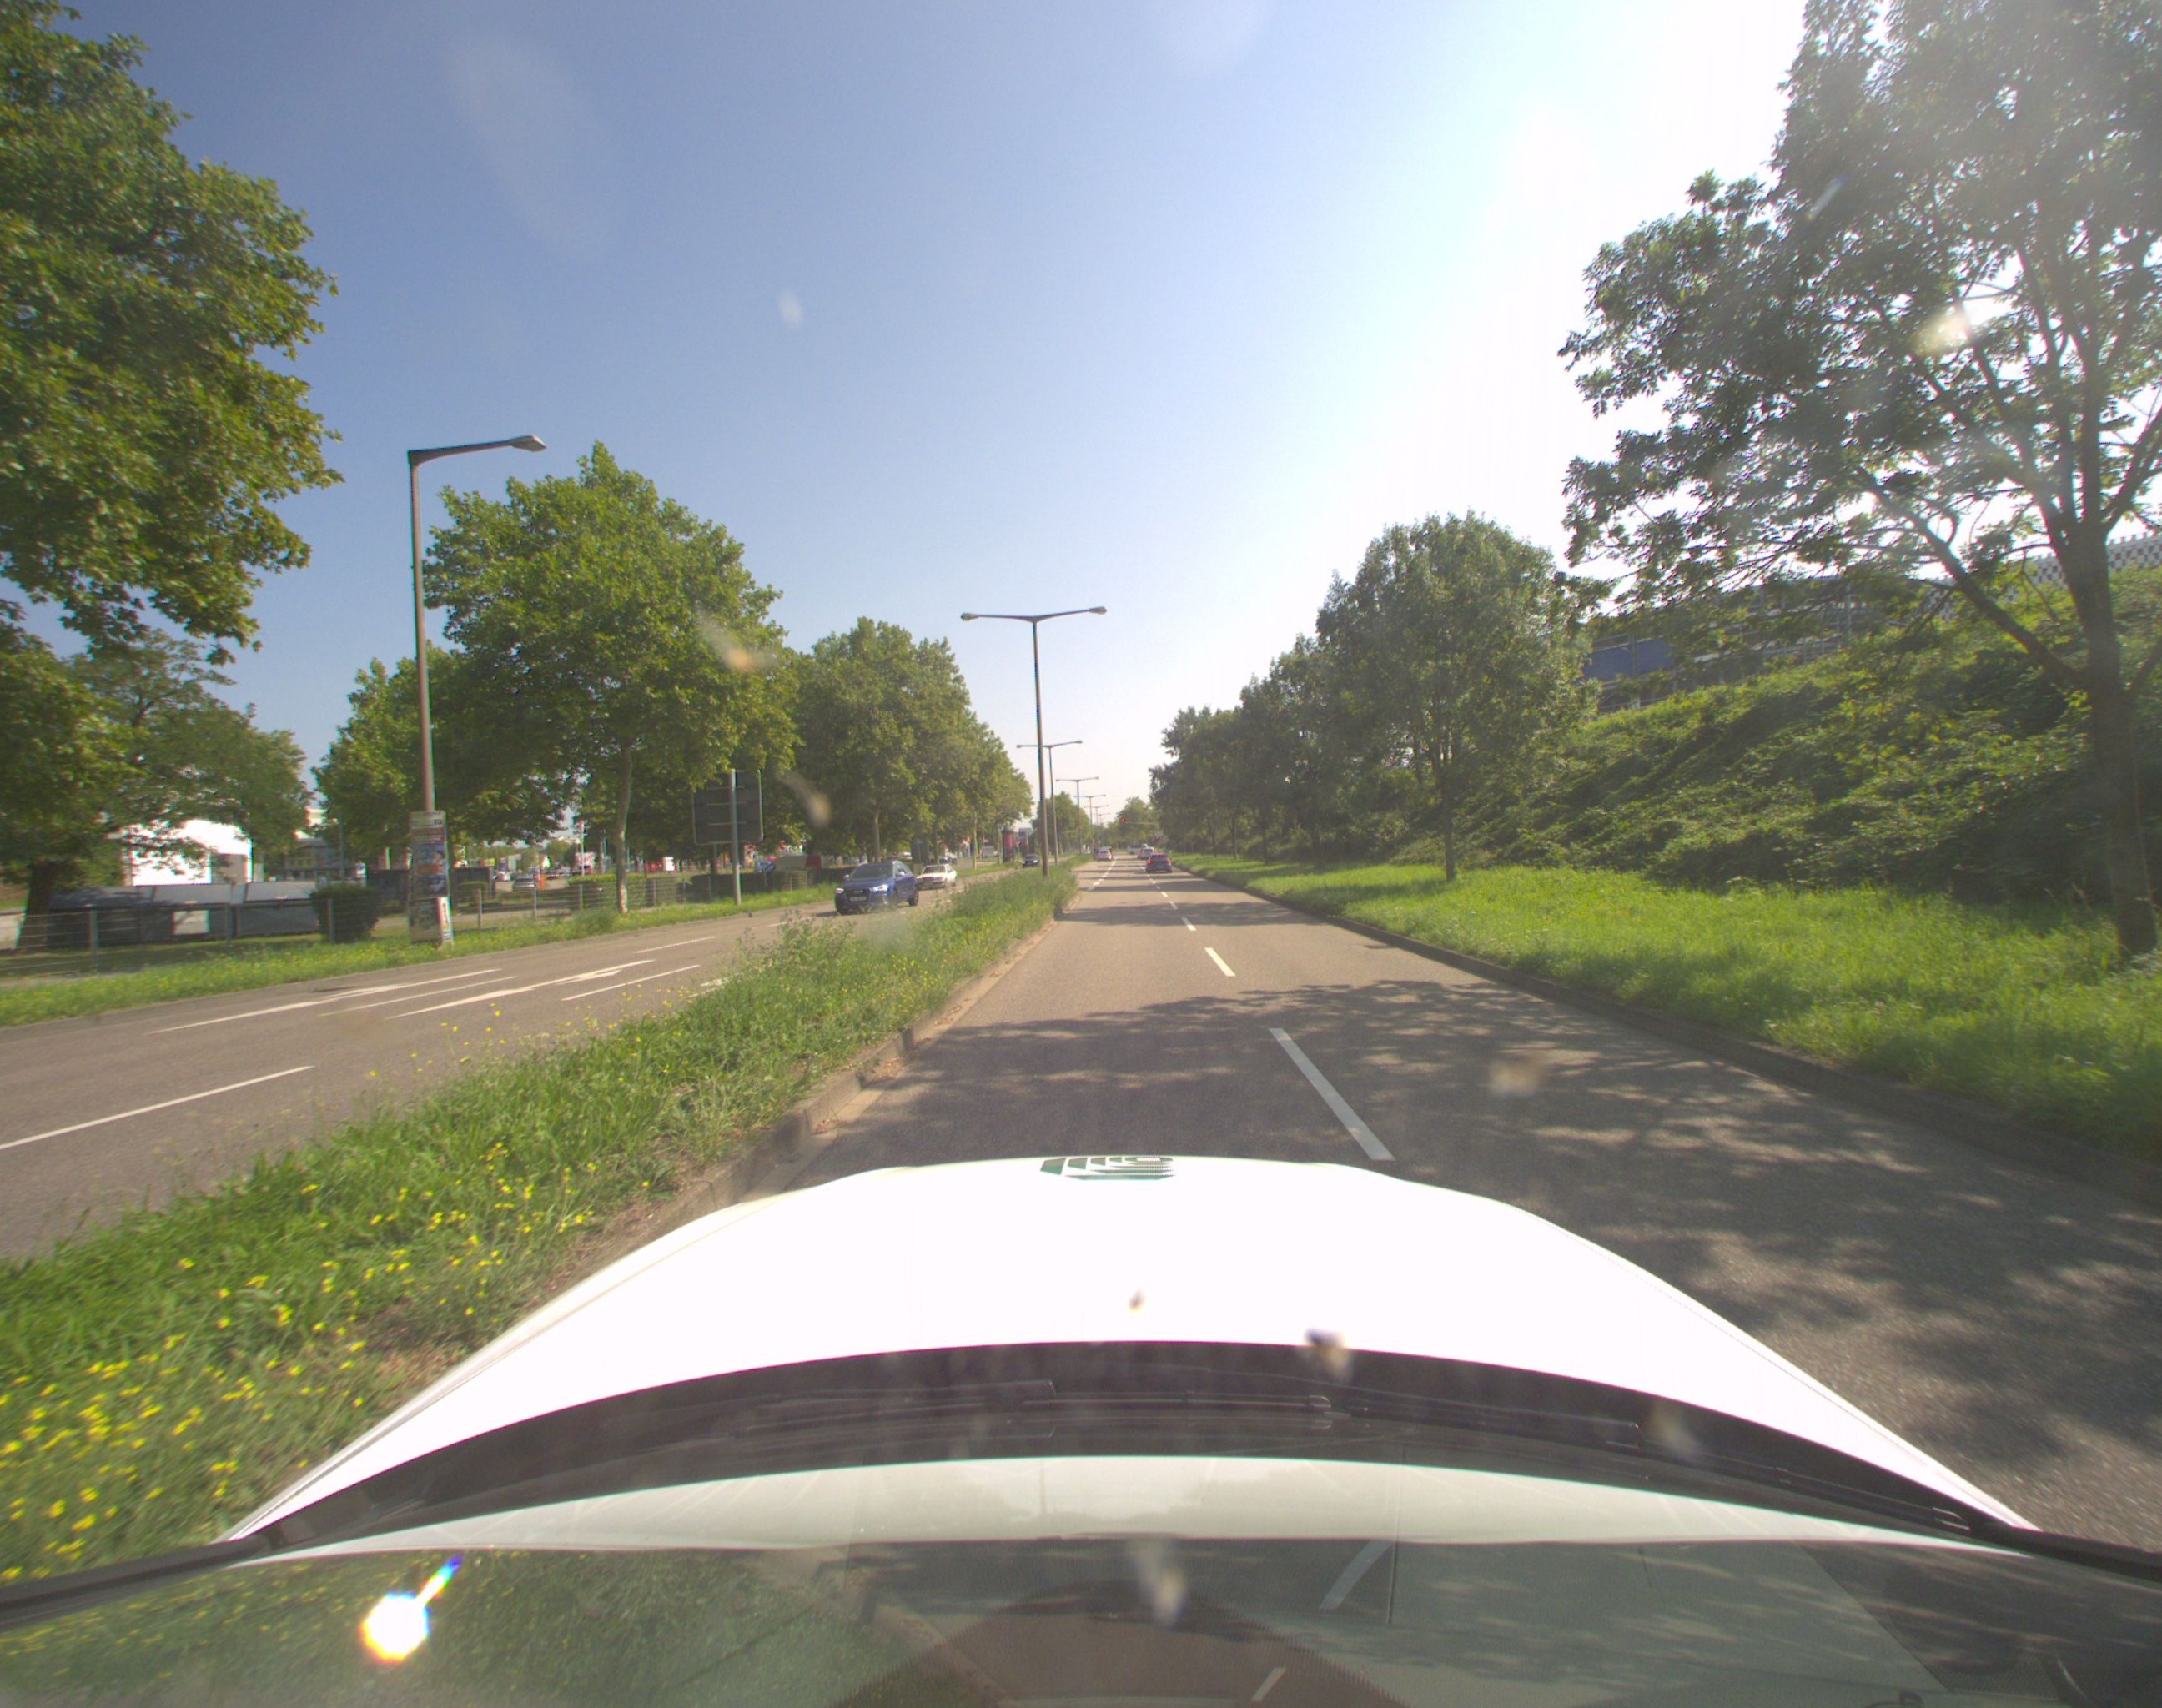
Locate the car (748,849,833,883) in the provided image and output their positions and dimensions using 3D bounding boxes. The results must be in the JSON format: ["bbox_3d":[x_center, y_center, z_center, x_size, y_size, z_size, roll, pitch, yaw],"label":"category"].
[{"bbox_3d":[-21.973,0.886,61.820,5.563,2.336,2.280,-1,3,1],"label":"car"}]

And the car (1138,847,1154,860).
[{"bbox_3d":[8.920,-0.106,112.583,1.985,1.654,4.003,-3,0,3],"label":"car"}]

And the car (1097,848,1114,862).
[{"bbox_3d":[3.185,0.108,104.751,1.984,1.702,4.005,-3,0,5],"label":"car"}]

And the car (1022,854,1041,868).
[{"bbox_3d":[-5.547,0.792,91.604,1.789,1.417,4.410,-4,0,0],"label":"car"}]

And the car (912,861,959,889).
[{"bbox_3d":[-8.286,1.153,46.740,1.789,1.417,4.410,-4,0,0],"label":"car"}]

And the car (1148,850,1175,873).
[{"bbox_3d":[5.743,0.494,58.604,1.773,1.427,4.005,-1,3,3],"label":"car"}]

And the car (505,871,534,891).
[{"bbox_3d":[-50.677,2.391,73.604,1.939,1.452,3.960,-2,3,-32],"label":"car"}]

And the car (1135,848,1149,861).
[{"bbox_3d":[9.426,-0.002,126.196,1.986,1.653,4.004,-2,4,2],"label":"car"}]

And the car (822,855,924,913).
[{"bbox_3d":[-6.646,0.897,26.568,1.986,1.585,4.348,-5,0,1],"label":"car"}]
